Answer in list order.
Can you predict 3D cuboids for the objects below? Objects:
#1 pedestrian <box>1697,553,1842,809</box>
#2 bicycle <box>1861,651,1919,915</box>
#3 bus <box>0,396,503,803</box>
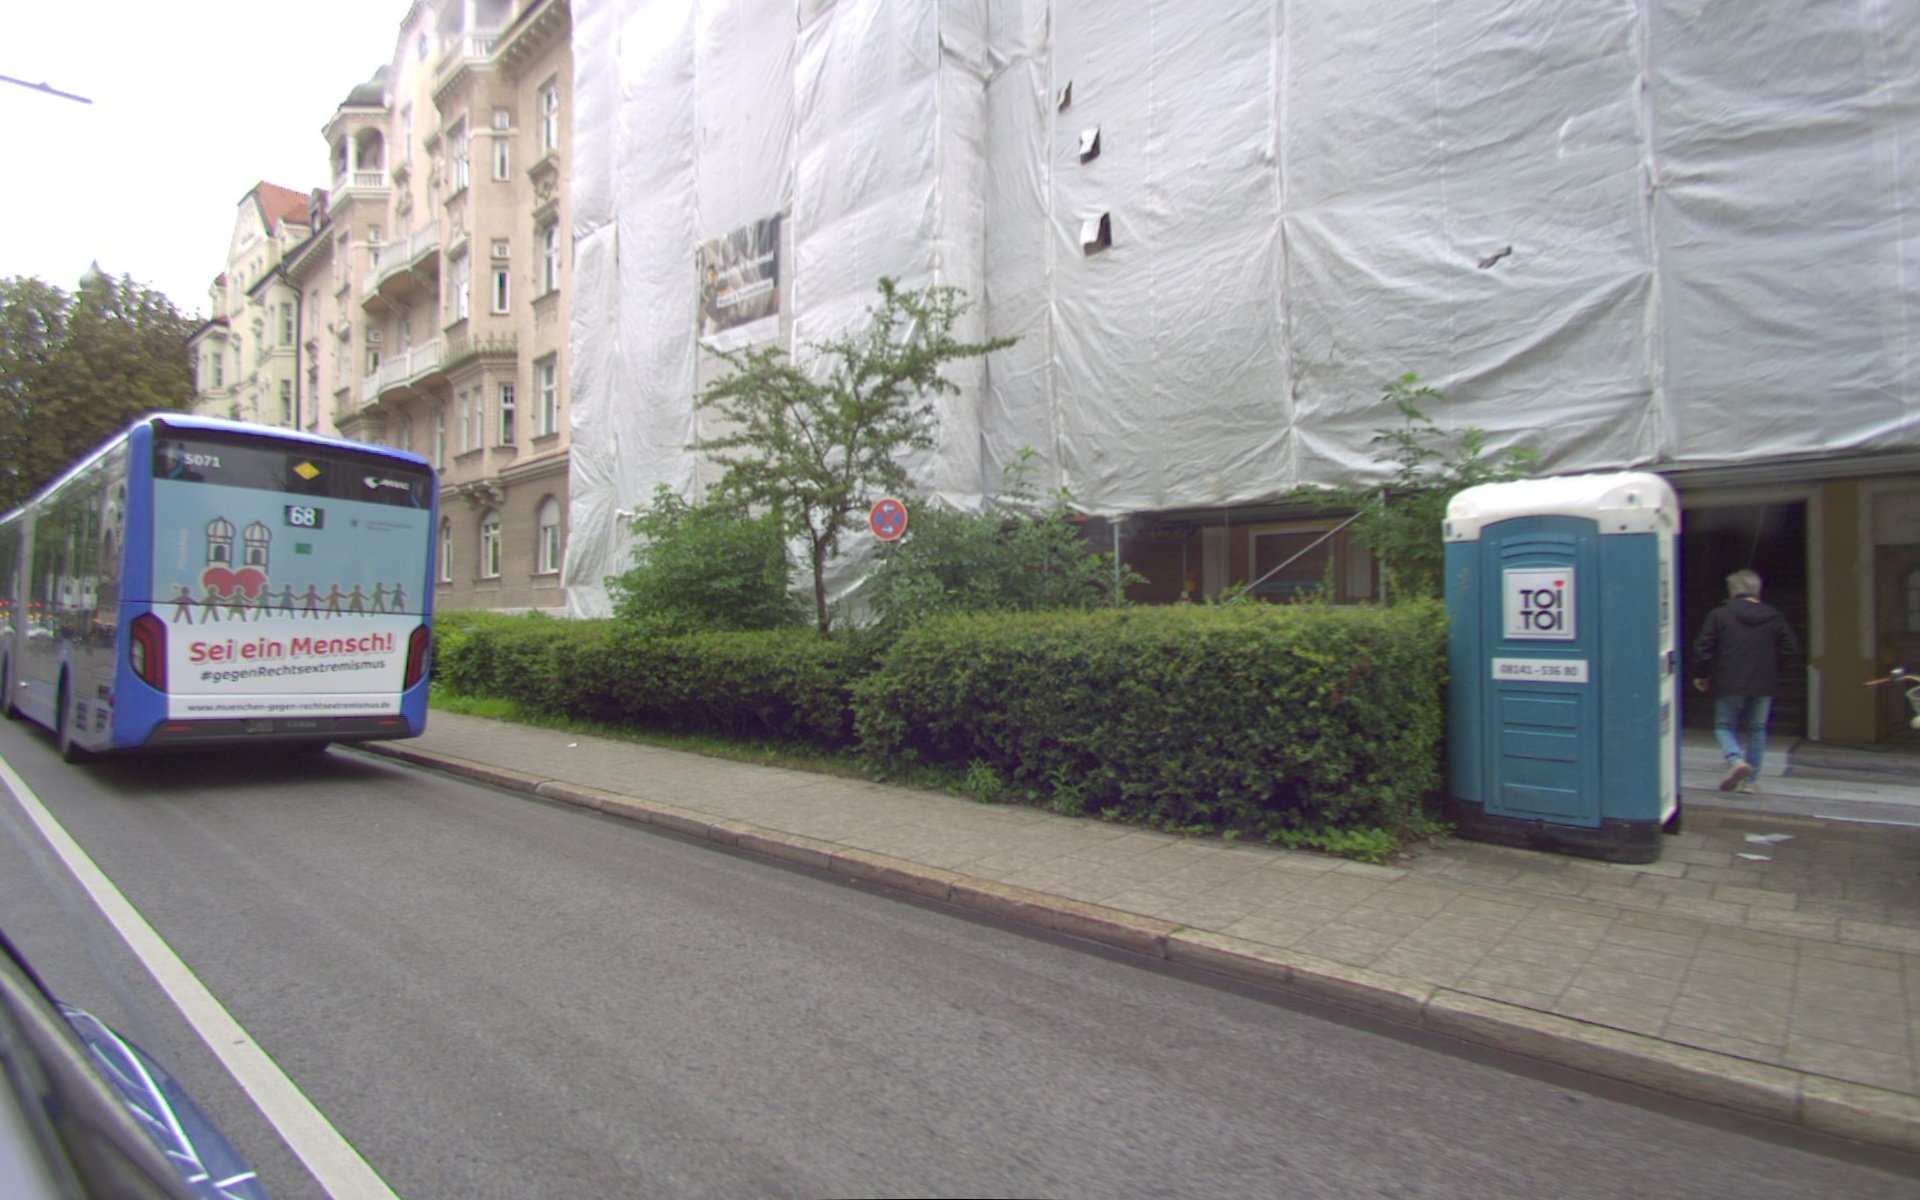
[{"bbox_3d":[5.992,0.558,7.495,0.773,1.759,0.761,-1,-1,41],"label":"pedestrian"},{"bbox_3d":[5.296,0.902,5.355,0.691,1.085,1.839,-1,2,44],"label":"bicycle"},{"bbox_3d":[-12.531,0.163,15.227,18.050,3.236,3.138,-1,-3,42],"label":"bus"}]
